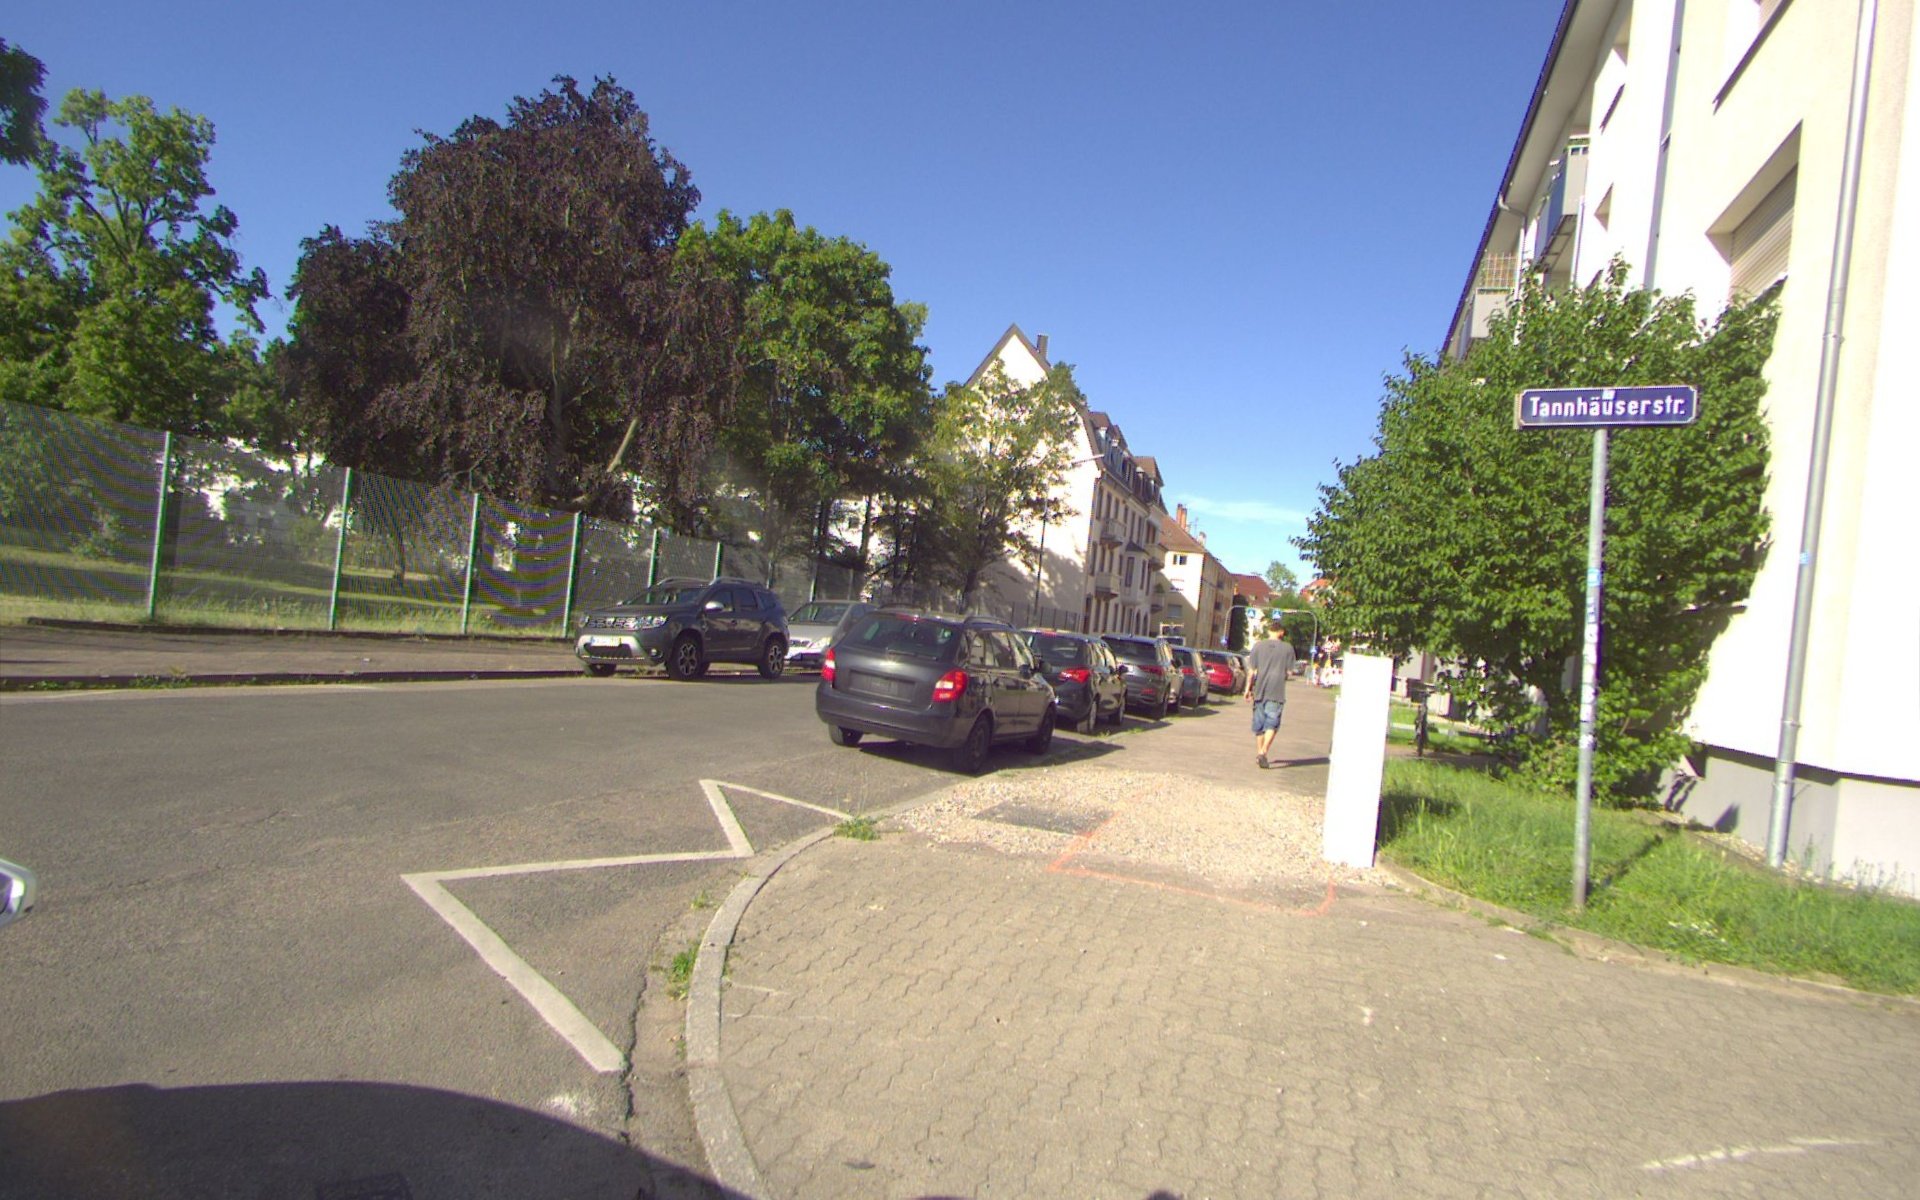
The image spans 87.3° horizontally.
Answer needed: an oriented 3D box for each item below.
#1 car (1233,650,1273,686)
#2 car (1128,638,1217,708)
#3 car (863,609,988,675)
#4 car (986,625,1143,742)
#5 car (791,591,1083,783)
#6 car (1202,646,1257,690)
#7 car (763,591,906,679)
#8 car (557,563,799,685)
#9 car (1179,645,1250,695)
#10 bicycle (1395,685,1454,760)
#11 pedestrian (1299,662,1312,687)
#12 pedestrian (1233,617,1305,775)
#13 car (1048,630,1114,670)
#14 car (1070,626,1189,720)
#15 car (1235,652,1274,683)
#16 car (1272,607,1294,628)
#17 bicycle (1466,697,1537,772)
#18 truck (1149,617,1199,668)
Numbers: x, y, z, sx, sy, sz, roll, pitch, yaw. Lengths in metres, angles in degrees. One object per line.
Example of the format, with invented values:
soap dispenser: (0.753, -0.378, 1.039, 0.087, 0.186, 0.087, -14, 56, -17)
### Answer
car: (15.450, 3.569, 52.938, 1.660, 1.479, 3.821, 12, 0, 18)
car: (5.665, 1.894, 26.467, 1.725, 1.498, 4.082, 7, -1, 18)
car: (-0.811, 1.136, 26.322, 1.766, 1.462, 4.121, 4, -2, 20)
car: (1.819, 1.307, 16.407, 1.580, 1.502, 3.799, 6, -1, 19)
car: (-0.024, 0.914, 11.100, 1.593, 1.567, 4.086, 6, -2, 22)
car: (11.526, 2.893, 42.866, 1.869, 1.641, 4.604, 3, -2, 19)
car: (-2.593, 0.793, 21.580, 1.540, 1.662, 3.617, 2, -2, 19)
car: (-4.429, 0.451, 16.528, 1.686, 1.683, 4.166, 3, -2, 19)
car: (9.074, 2.469, 35.650, 1.726, 1.461, 4.523, 6, -1, 22)
bicycle: (7.555, 1.956, 16.433, 0.477, 1.024, 2.285, 5, -1, 17)
pedestrian: (20.482, 4.399, 59.657, 0.566, 1.451, 0.471, 5, 0, 23)
pedestrian: (3.786, 1.150, 12.308, 0.635, 1.793, 0.841, 6, 0, 19)
car: (5.126, 2.116, 42.089, 1.766, 1.488, 4.504, 4, -2, 19)
car: (3.685, 1.502, 21.243, 1.725, 1.577, 4.257, 7, -1, 18)
car: (16.979, 3.886, 57.878, 1.662, 1.485, 3.582, 9, 0, 21)
car: (31.037, 1.721, 96.661, 1.793, 1.653, 4.257, 6, -1, 19)
bicycle: (8.555, 2.090, 15.963, 0.477, 0.972, 2.285, 5, -1, 17)
truck: (14.304, 2.904, 66.823, 2.224, 3.021, 7.280, 6, -2, 18)
